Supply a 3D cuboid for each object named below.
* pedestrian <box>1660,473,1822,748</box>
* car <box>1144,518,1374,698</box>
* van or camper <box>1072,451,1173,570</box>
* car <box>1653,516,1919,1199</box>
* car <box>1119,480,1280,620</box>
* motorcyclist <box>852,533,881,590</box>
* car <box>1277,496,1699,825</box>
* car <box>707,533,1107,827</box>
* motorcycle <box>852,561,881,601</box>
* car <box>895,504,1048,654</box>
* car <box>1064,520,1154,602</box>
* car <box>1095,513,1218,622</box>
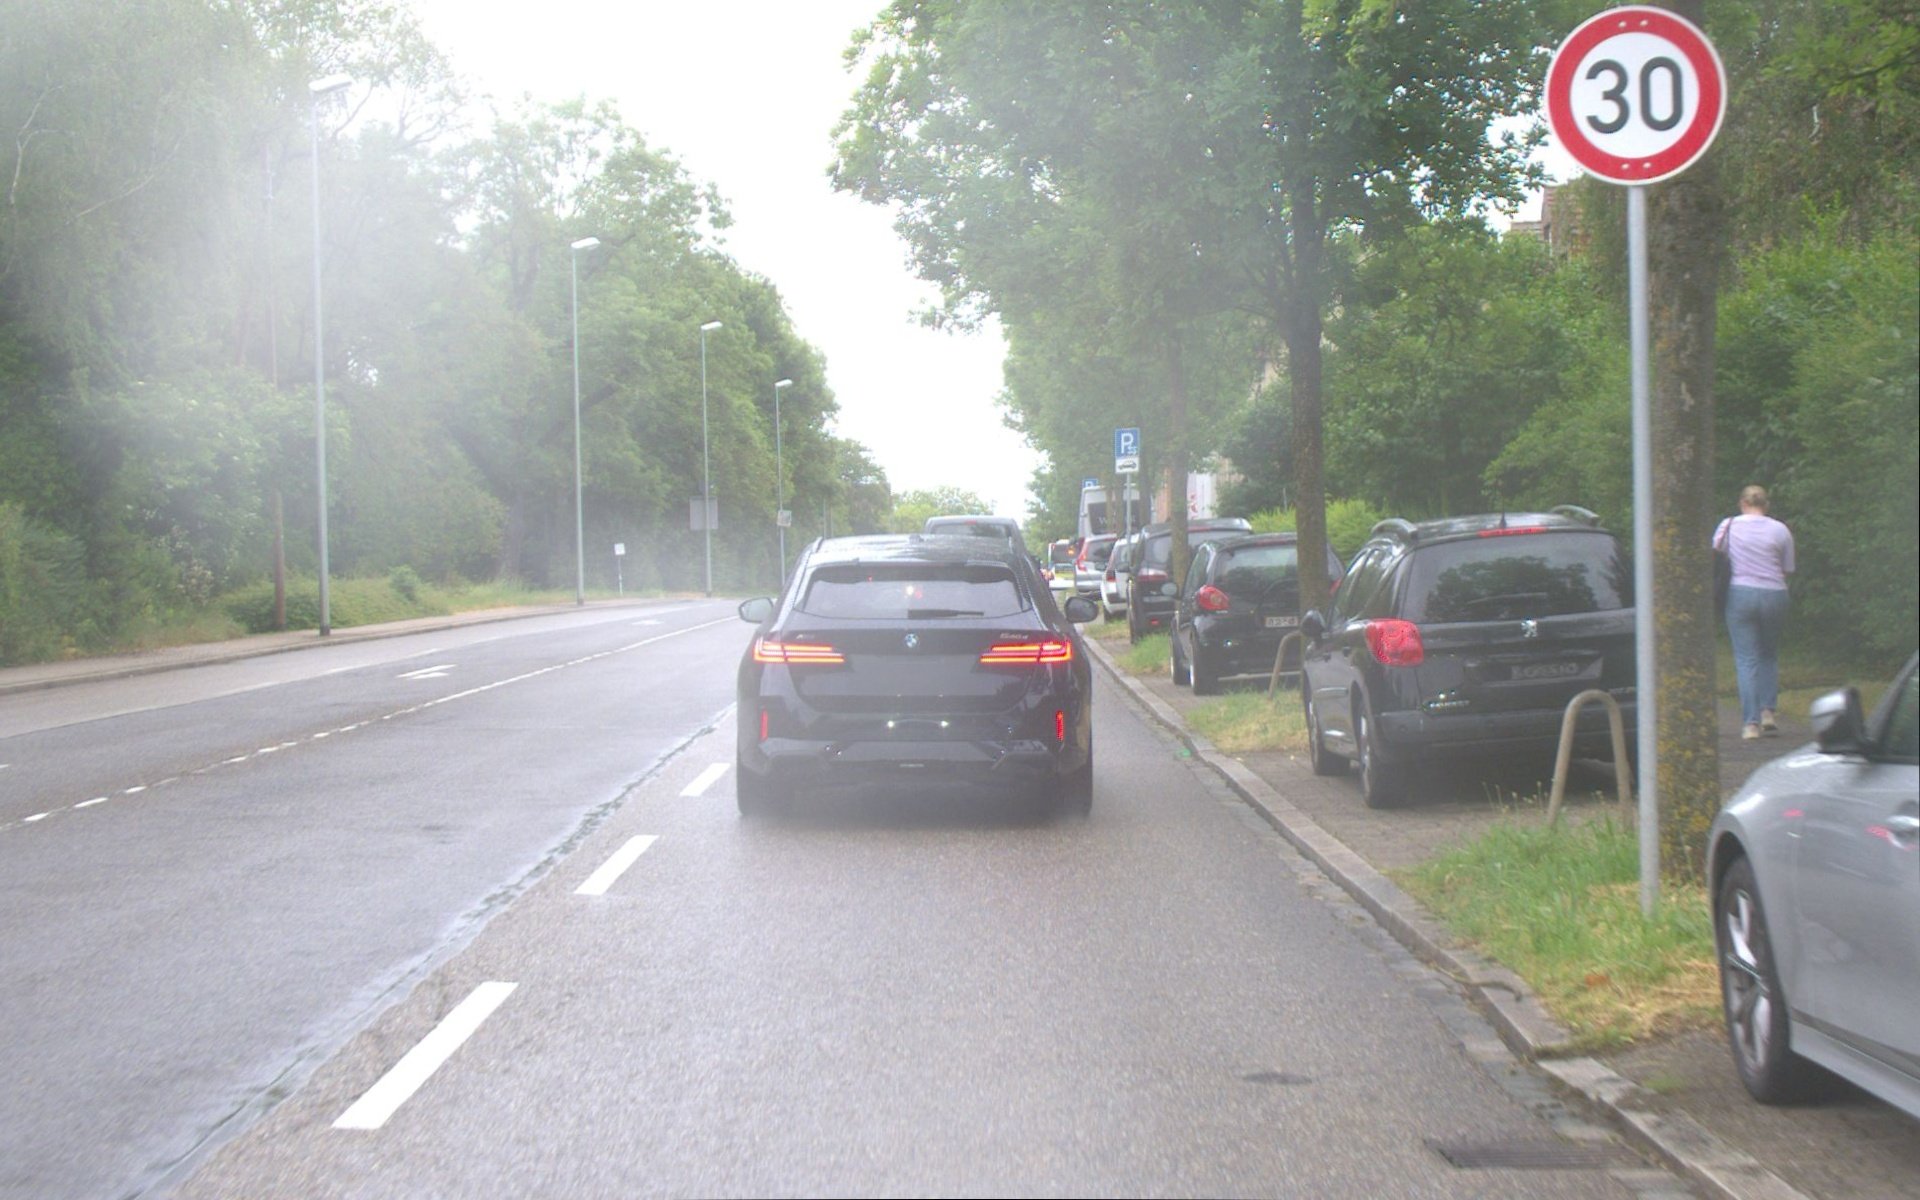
[{"bbox_3d":[4.954,0.056,21.854,0.716,1.674,0.895,-3,1,-3],"label":"pedestrian"},{"bbox_3d":[2.797,0.028,32.873,1.722,1.507,3.786,-3,2,-1],"label":"car"},{"bbox_3d":[3.926,-2.177,83.597,2.198,2.642,7.301,-3,1,2],"label":"van or camper"},{"bbox_3d":[2.839,0.543,7.155,1.799,1.517,4.591,-3,0,0],"label":"car"},{"bbox_3d":[3.151,-0.700,45.970,1.824,1.672,4.584,-3,1,1],"label":"car"},{"bbox_3d":[-2.731,-1.130,100.678,0.810,1.675,0.651,0,1,1],"label":"motorcyclist"},{"bbox_3d":[2.883,0.248,19.542,1.641,1.589,4.014,-3,2,-1],"label":"car"},{"bbox_3d":[-0.278,0.375,19.304,1.993,1.448,4.000,1,1,0],"label":"car"},{"bbox_3d":[-2.734,-0.565,100.649,0.821,1.114,2.189,0,1,-1],"label":"motorcycle"},{"bbox_3d":[0.204,-0.304,48.957,1.994,2.007,4.000,-1,1,2],"label":"car"},{"bbox_3d":[3.134,-0.836,71.745,1.669,1.523,3.831,-4,1,4],"label":"car"},{"bbox_3d":[3.269,-0.565,56.615,1.824,1.597,4.473,-3,1,5],"label":"car"}]
